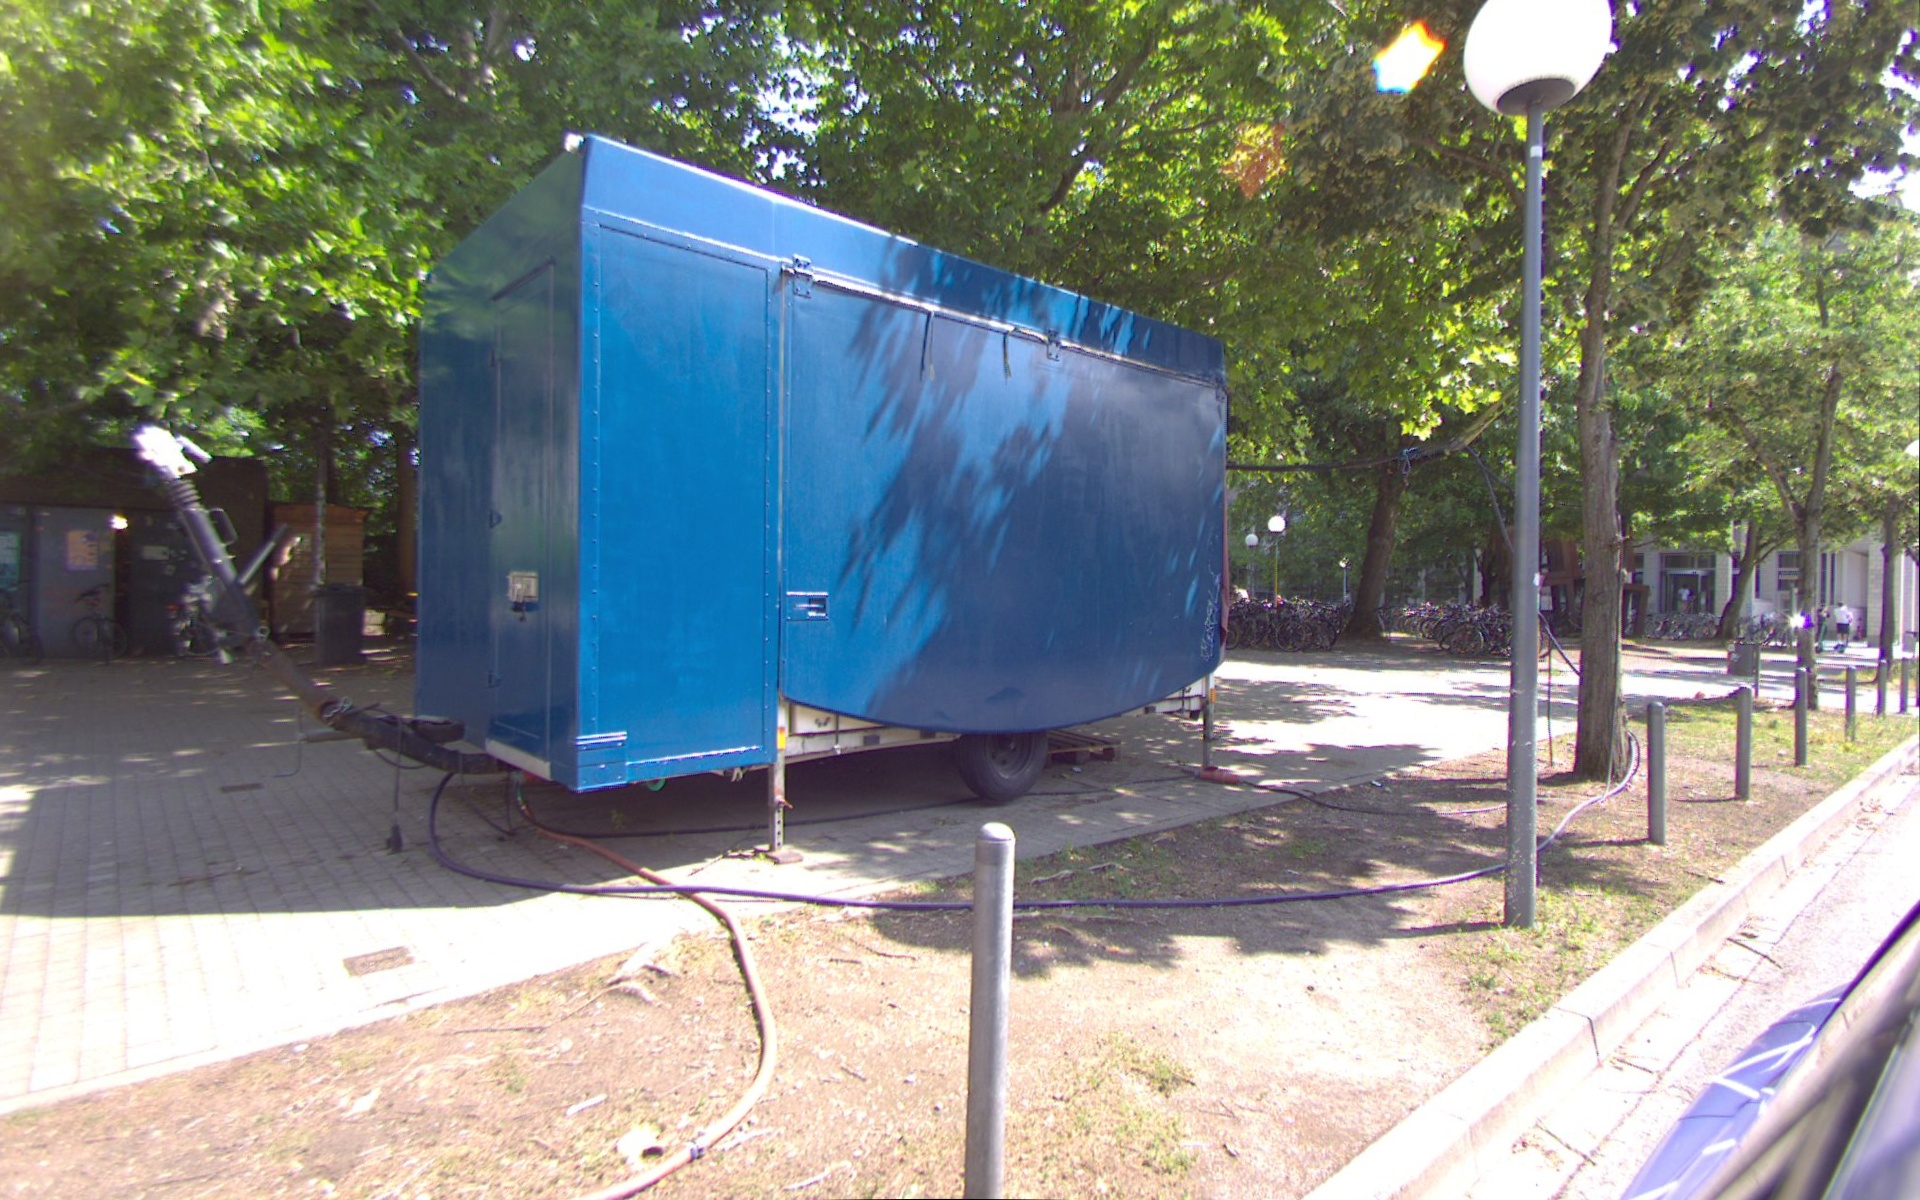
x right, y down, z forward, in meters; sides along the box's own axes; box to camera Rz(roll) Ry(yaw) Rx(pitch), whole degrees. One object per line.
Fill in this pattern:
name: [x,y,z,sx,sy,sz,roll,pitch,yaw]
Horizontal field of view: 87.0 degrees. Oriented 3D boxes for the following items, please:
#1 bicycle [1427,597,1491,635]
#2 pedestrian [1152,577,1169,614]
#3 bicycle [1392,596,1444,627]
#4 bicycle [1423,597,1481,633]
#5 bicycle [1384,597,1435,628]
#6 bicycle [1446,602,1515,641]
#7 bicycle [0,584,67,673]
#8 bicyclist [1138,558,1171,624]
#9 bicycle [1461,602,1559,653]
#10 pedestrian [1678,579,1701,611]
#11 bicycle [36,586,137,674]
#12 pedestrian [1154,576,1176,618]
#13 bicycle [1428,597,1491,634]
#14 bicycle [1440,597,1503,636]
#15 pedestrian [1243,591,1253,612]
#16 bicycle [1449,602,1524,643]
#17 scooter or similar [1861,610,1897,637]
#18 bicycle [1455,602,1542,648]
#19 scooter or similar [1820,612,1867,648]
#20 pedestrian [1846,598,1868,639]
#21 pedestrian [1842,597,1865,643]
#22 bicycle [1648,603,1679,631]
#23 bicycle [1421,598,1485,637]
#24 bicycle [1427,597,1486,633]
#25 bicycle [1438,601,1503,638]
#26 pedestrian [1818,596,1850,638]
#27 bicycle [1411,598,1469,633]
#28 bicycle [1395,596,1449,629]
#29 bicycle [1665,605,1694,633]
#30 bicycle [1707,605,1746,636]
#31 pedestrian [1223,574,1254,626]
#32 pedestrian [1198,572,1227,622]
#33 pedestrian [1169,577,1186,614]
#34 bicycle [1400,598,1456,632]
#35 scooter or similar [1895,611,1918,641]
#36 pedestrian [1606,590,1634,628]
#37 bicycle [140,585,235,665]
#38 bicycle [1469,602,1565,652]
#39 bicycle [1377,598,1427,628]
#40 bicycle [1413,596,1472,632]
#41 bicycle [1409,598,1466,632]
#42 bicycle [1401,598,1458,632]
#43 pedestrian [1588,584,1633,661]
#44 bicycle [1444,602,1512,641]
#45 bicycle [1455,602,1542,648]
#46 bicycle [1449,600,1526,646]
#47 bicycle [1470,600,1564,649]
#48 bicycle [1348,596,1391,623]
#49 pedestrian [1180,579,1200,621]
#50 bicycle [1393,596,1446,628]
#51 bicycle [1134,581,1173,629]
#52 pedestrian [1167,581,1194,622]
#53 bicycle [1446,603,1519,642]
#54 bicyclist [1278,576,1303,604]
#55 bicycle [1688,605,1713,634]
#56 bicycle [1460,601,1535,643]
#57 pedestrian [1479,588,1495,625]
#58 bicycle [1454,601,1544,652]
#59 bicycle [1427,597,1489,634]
bicycle: [16.621,0.529,33.736,1.819,1.185,0.401,2,0,15]
pedestrian: [9.971,-0.226,50.317,0.732,1.797,0.719,2,0,9]
bicycle: [18.377,0.466,40.599,1.815,1.185,0.387,2,0,10]
bicycle: [17.144,0.512,35.255,1.811,1.185,0.345,2,0,2]
bicycle: [18.322,0.505,41.234,1.815,1.185,0.412,2,0,10]
bicycle: [15.494,0.640,30.150,1.770,1.083,0.424,2,0,19]
bicycle: [-12.771,0.341,13.489,0.767,1.085,2.408,0,1,-28]
bicyclist: [5.398,-0.249,28.049,0.526,1.750,1.068,3,1,28]
bicycle: [12.760,0.617,23.504,1.939,1.096,0.399,2,0,38]
pedestrian: [40.816,-0.284,56.618,0.793,1.819,0.621,1,0,-9]
bicycle: [-12.052,0.368,14.028,0.768,1.085,2.405,0,1,-34]
pedestrian: [8.874,-0.132,43.792,0.737,1.797,0.714,2,0,26]
bicycle: [16.808,0.511,34.069,1.819,1.185,0.344,2,0,15]
bicycle: [16.683,0.523,33.044,1.767,1.185,0.401,2,0,15]
pedestrian: [16.947,0.092,59.532,0.379,1.228,0.403,2,0,-33]
bicycle: [14.601,0.620,28.117,1.772,1.041,0.438,2,0,17]
scooter or similar: [45.633,1.148,50.285,0.555,1.226,1.508,0,2,8]
bicycle: [13.707,0.623,25.805,1.894,1.073,0.322,2,0,26]
scooter or similar: [29.293,1.006,33.567,1.333,1.128,0.498,3,0,-17]
pedestrian: [38.793,0.786,43.756,0.533,1.751,0.613,1,0,-40]
pedestrian: [38.017,0.843,43.075,0.675,1.915,0.685,0,0,-44]
bicycle: [29.347,0.725,42.210,1.664,1.099,0.482,3,0,-36]
bicycle: [15.973,0.569,32.820,1.767,1.185,0.401,2,0,15]
bicycle: [17.124,0.525,34.881,1.811,1.185,0.345,2,0,2]
bicycle: [16.261,0.617,32.267,1.766,1.083,0.425,2,0,14]
pedestrian: [38.273,0.746,44.310,0.795,1.819,0.619,1,0,5]
bicycle: [17.271,0.550,36.443,1.817,1.185,0.344,2,0,13]
bicycle: [17.627,0.472,38.643,1.817,1.185,0.352,2,0,13]
bicycle: [29.875,0.805,42.025,1.486,1.099,0.482,3,0,-36]
bicycle: [30.682,0.809,40.504,1.494,1.155,0.493,3,0,-22]
pedestrian: [9.797,-0.001,35.554,0.709,1.797,0.743,2,0,-44]
pedestrian: [9.192,-0.106,36.812,0.742,1.797,0.710,2,0,41]
pedestrian: [10.766,-0.206,50.194,0.732,1.797,0.719,2,0,9]
bicycle: [17.521,0.550,37.901,1.817,1.185,0.352,2,0,13]
scooter or similar: [41.079,1.126,43.911,1.485,1.226,0.564,0,3,-43]
pedestrian: [30.687,0.409,47.068,0.737,1.762,0.935,1,0,-44]
bicycle: [-11.376,0.338,14.986,0.767,1.085,2.407,0,0,-29]
bicycle: [13.076,0.616,23.797,1.939,1.096,0.399,2,0,38]
bicycle: [18.589,0.546,42.582,1.815,1.185,0.412,2,0,10]
bicycle: [17.203,0.491,36.104,1.817,1.185,0.344,2,0,12]
bicycle: [17.341,0.541,36.773,1.817,1.185,0.344,2,0,13]
bicycle: [17.409,0.556,37.547,1.817,1.185,0.352,2,0,13]
pedestrian: [14.126,0.468,21.971,0.911,1.590,0.569,-3,4,-41]
bicycle: [15.631,0.633,30.566,1.770,1.083,0.424,2,0,19]
bicycle: [13.566,0.625,25.531,1.894,1.073,0.322,2,0,26]
bicycle: [14.073,0.600,27.033,1.712,1.169,0.493,2,0,13]
bicycle: [13.415,0.570,24.417,1.939,1.096,0.399,2,0,38]
bicycle: [18.798,0.445,46.463,1.812,1.185,0.345,2,0,4]
pedestrian: [10.001,-0.001,43.965,0.735,1.797,0.717,2,0,18]
bicycle: [17.696,0.463,38.992,1.817,1.185,0.352,2,0,13]
bicycle: [5.385,0.121,28.053,0.526,1.268,1.720,3,1,28]
pedestrian: [10.047,0.063,46.162,0.954,1.797,0.963,2,0,27]
bicycle: [14.940,0.635,28.957,1.769,1.041,0.380,2,0,17]
bicyclist: [20.099,-0.604,61.553,0.824,1.561,0.958,5,3,-44]
bicycle: [30.282,0.793,41.368,1.447,1.099,0.460,3,0,-41]
bicycle: [14.647,0.595,27.610,1.712,1.065,0.493,2,0,13]
pedestrian: [24.949,0.322,47.896,0.426,1.725,0.929,-1,-2,44]
bicycle: [12.396,0.596,23.316,1.763,1.096,0.432,2,0,38]
bicycle: [16.911,0.530,34.405,1.819,1.185,0.344,2,0,15]
